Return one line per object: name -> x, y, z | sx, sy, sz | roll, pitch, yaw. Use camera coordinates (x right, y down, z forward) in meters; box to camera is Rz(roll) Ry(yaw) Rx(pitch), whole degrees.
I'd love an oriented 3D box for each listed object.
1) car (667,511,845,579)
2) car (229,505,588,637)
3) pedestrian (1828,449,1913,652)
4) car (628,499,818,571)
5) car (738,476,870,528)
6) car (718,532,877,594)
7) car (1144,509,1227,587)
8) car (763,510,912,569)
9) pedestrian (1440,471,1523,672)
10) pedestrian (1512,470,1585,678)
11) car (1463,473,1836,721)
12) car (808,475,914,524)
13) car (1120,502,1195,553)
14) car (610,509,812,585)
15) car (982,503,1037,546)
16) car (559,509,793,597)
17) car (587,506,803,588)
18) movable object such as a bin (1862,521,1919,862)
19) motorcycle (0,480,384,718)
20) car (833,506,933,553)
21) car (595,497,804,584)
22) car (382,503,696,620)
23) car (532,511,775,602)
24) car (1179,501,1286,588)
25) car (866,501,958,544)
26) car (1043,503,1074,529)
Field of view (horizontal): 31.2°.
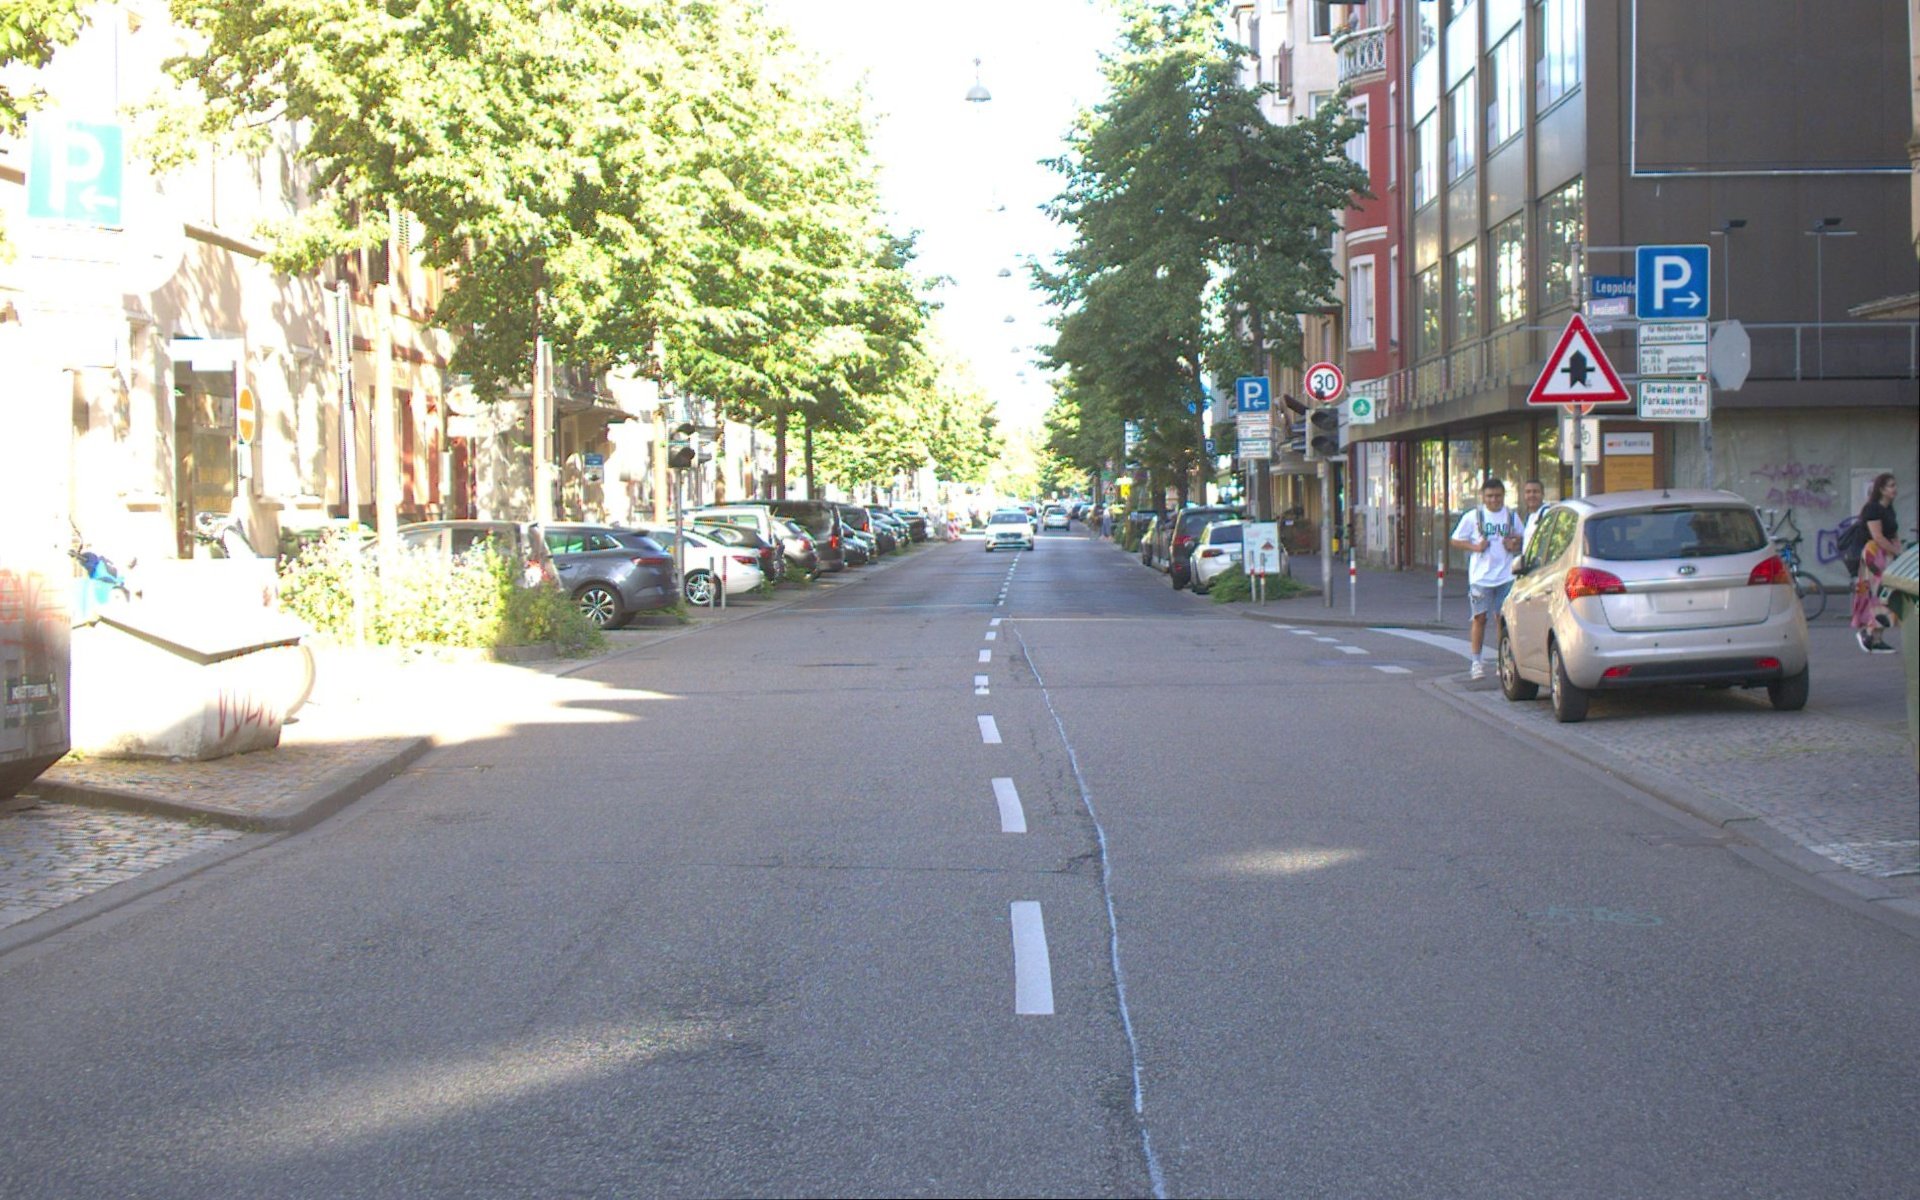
car -> -4.766, -1.290, 80.685 | 3.987, 1.503, 2.000 | 1, 1, 2
car -> -6.670, -0.359, 41.865 | 3.987, 1.503, 2.000 | 1, 1, 2
pedestrian -> 8.514, -0.464, 32.142 | 0.646, 1.865, 0.626 | 1, 0, 24
car -> -5.218, -1.441, 76.072 | 3.987, 1.503, 1.894 | 1, 1, 2
car -> -5.021, -3.163, 111.229 | 3.988, 1.503, 2.000 | 2, 1, 5
car -> -4.350, -1.004, 92.267 | 3.988, 1.503, 2.000 | 2, 1, 5
car -> 6.012, -1.389, 92.069 | 1.993, 2.007, 4.000 | 1, 1, 1
car -> -3.488, -1.719, 98.046 | 3.988, 1.503, 2.000 | 2, 1, 5
pedestrian -> 4.569, -0.252, 30.113 | 0.614, 1.729, 0.633 | 1, 0, 16
pedestrian -> 5.087, -0.224, 29.704 | 0.512, 1.773, 0.612 | 1, 0, 18
car -> 5.081, -0.046, 25.997 | 1.899, 1.669, 4.825 | 1, 1, 1
car -> -4.086, -4.164, 142.183 | 3.989, 2.007, 1.999 | 1, 1, 11
car -> 5.703, -2.103, 99.510 | 1.993, 1.448, 4.000 | 0, 1, 1
car -> -5.199, -1.114, 72.150 | 3.987, 1.503, 2.000 | 1, 1, 2
car -> 1.907, -2.875, 130.872 | 1.993, 1.550, 4.000 | 1, 1, 2
car -> -5.118, -0.860, 62.346 | 3.987, 1.503, 2.000 | 1, 1, 2
car -> -5.165, -1.043, 67.380 | 3.987, 1.503, 2.000 | 1, 1, 2
movable object such as a bin -> 4.750, 0.372, 15.461 | 1.073, 1.452, 1.492 | -3, 2, 6
motorcycle -> -5.361, -0.009, 23.885 | 2.474, 1.599, 0.999 | -1, 1, 20
car -> -3.320, -3.083, 149.353 | 3.989, 2.007, 1.999 | 1, 1, 11
car -> -5.271, -1.211, 69.867 | 3.987, 1.668, 2.089 | 1, 1, 2
car -> -5.750, -0.533, 47.299 | 3.987, 1.503, 2.000 | 1, 1, 2
car -> -5.341, -0.770, 60.266 | 3.987, 1.503, 2.000 | 1, 1, 2
car -> 5.306, -1.068, 67.255 | 1.994, 1.612, 4.010 | 1, 1, 4
car -> -2.254, -3.677, 162.547 | 3.989, 2.007, 1.999 | 1, 1, 11
car -> 6.199, -5.276, 216.370 | 1.870, 1.550, 4.000 | 1, 1, 2
